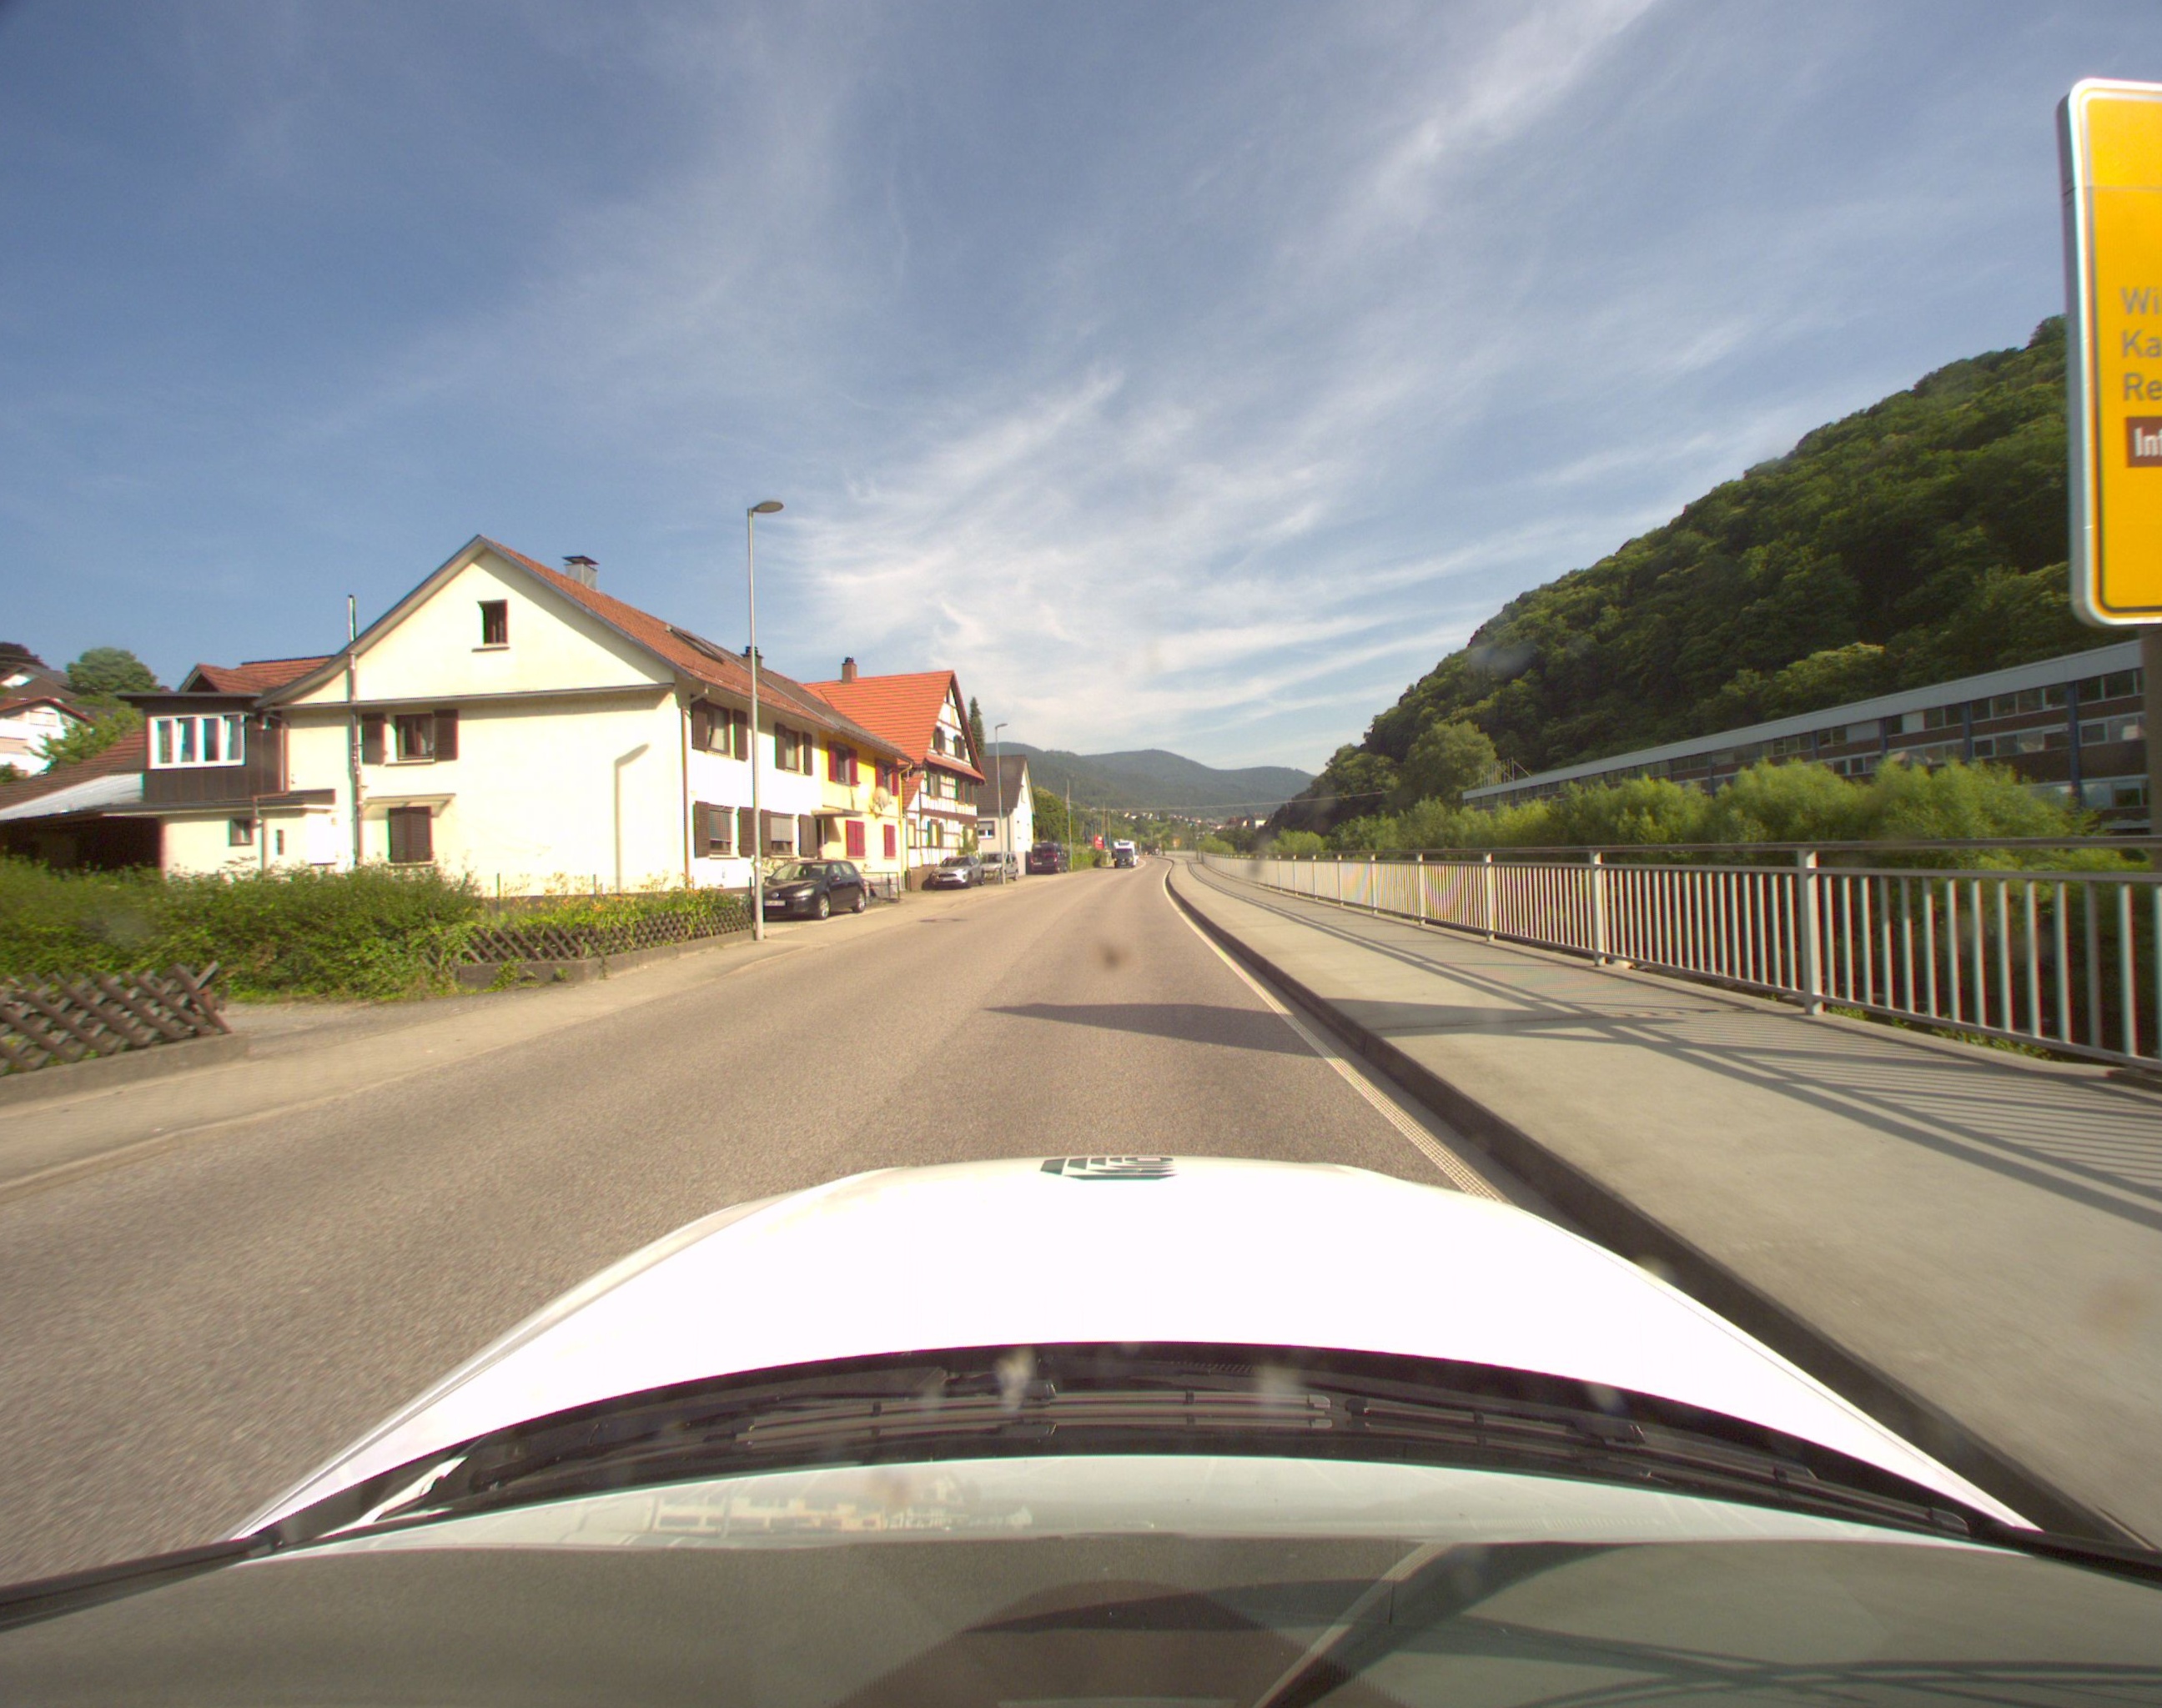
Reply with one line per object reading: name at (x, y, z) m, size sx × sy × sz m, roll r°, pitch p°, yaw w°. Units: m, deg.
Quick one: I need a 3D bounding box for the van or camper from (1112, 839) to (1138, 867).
van or camper at (4.824, -0.130, 87.791) m, size 2.183 × 2.938 × 7.141 m, roll -1°, pitch 0°, yaw 7°

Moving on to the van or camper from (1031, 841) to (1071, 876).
van or camper at (-2.301, 0.338, 64.953) m, size 2.136 × 2.555 × 5.914 m, roll -2°, pitch 0°, yaw 8°

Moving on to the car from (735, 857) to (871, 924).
car at (-6.891, 0.834, 20.725) m, size 1.877 × 1.519 × 4.238 m, roll 0°, pitch 0°, yaw 2°

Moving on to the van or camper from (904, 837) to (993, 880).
van or camper at (-8.459, 0.276, 52.181) m, size 5.139 × 2.663 × 2.200 m, roll 0°, pitch -1°, yaw 13°

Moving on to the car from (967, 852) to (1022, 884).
car at (-4.813, 0.769, 45.913) m, size 1.889 × 1.664 × 4.279 m, roll -1°, pitch 0°, yaw 10°

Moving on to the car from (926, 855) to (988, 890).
car at (-5.882, 0.847, 39.130) m, size 1.875 × 1.519 × 4.100 m, roll -3°, pitch 0°, yaw 5°

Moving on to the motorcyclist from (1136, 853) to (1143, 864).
motorcyclist at (8.517, 0.588, 118.429) m, size 0.820 × 1.558 × 0.630 m, roll -2°, pitch -1°, yaw 10°

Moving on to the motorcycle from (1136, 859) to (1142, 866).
motorcycle at (8.398, 1.224, 118.527) m, size 0.650 × 1.068 × 2.187 m, roll -2°, pitch 0°, yaw 9°
